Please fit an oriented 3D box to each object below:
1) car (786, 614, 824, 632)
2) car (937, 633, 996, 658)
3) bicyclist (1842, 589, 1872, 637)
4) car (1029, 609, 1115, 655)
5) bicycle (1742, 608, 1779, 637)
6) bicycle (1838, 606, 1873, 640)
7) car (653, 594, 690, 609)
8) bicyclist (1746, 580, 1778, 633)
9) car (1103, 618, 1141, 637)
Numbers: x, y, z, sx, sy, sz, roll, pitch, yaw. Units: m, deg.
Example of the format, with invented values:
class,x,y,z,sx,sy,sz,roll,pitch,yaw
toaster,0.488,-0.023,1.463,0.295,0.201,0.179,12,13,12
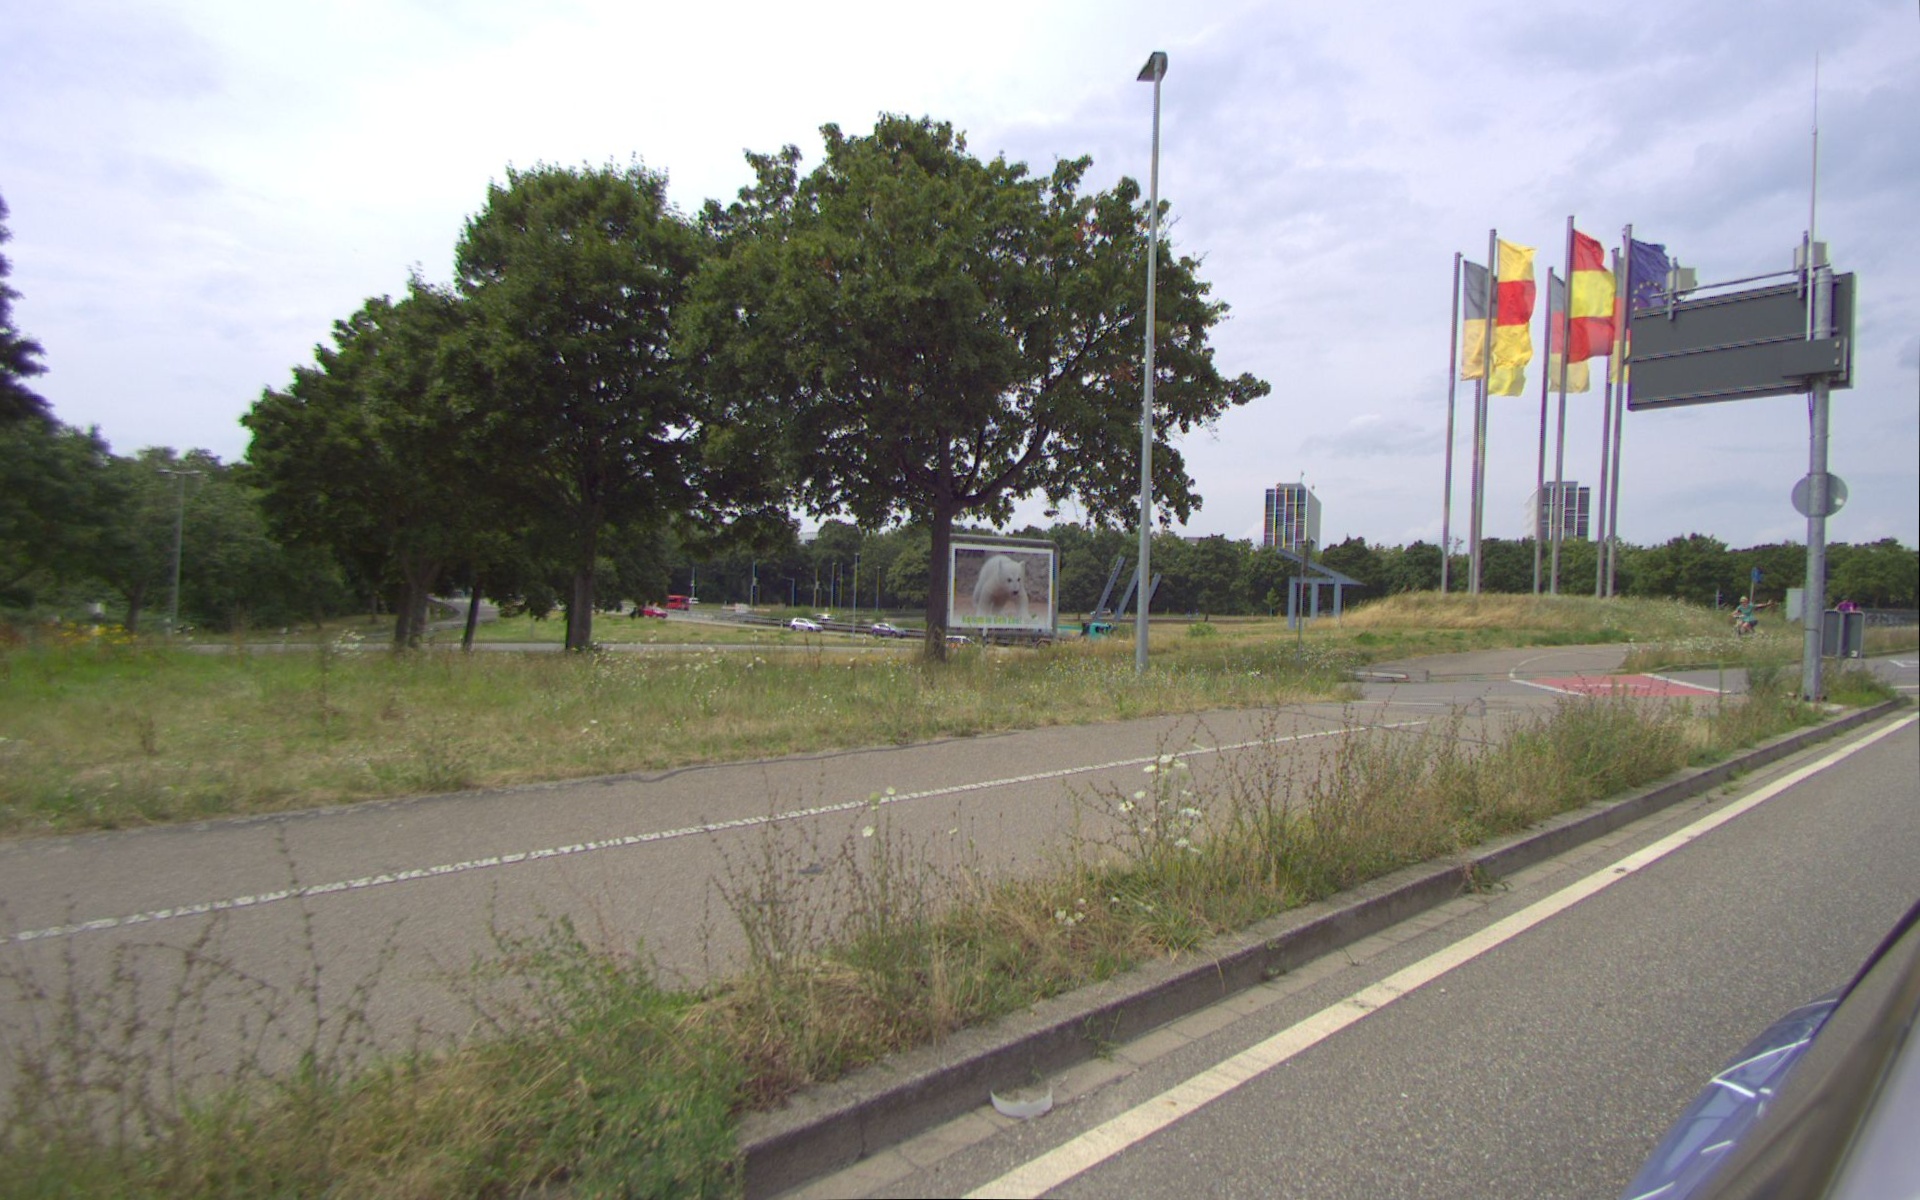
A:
class,x,y,z,sx,sy,sz,roll,pitch,yaw
car,-17.802,2.610,116.407,3.963,2.039,1.980,0,-1,28
car,0.601,4.124,92.735,5.145,2.039,2.002,2,0,-5
bicyclist,34.548,0.495,38.975,0.974,1.777,0.704,2,0,-42
car,10.711,3.020,97.128,7.440,3.946,3.313,2,0,27
bicycle,26.541,0.721,33.547,2.117,0.899,0.624,0,1,-42
bicycle,34.363,0.875,38.823,2.418,1.207,0.695,1,1,-42
car,-42.922,0.199,150.597,5.426,2.039,1.979,2,0,29
bicyclist,26.552,0.210,33.492,0.657,1.686,0.623,2,2,-42
car,19.097,3.195,119.540,3.981,2.039,1.851,2,0,40
